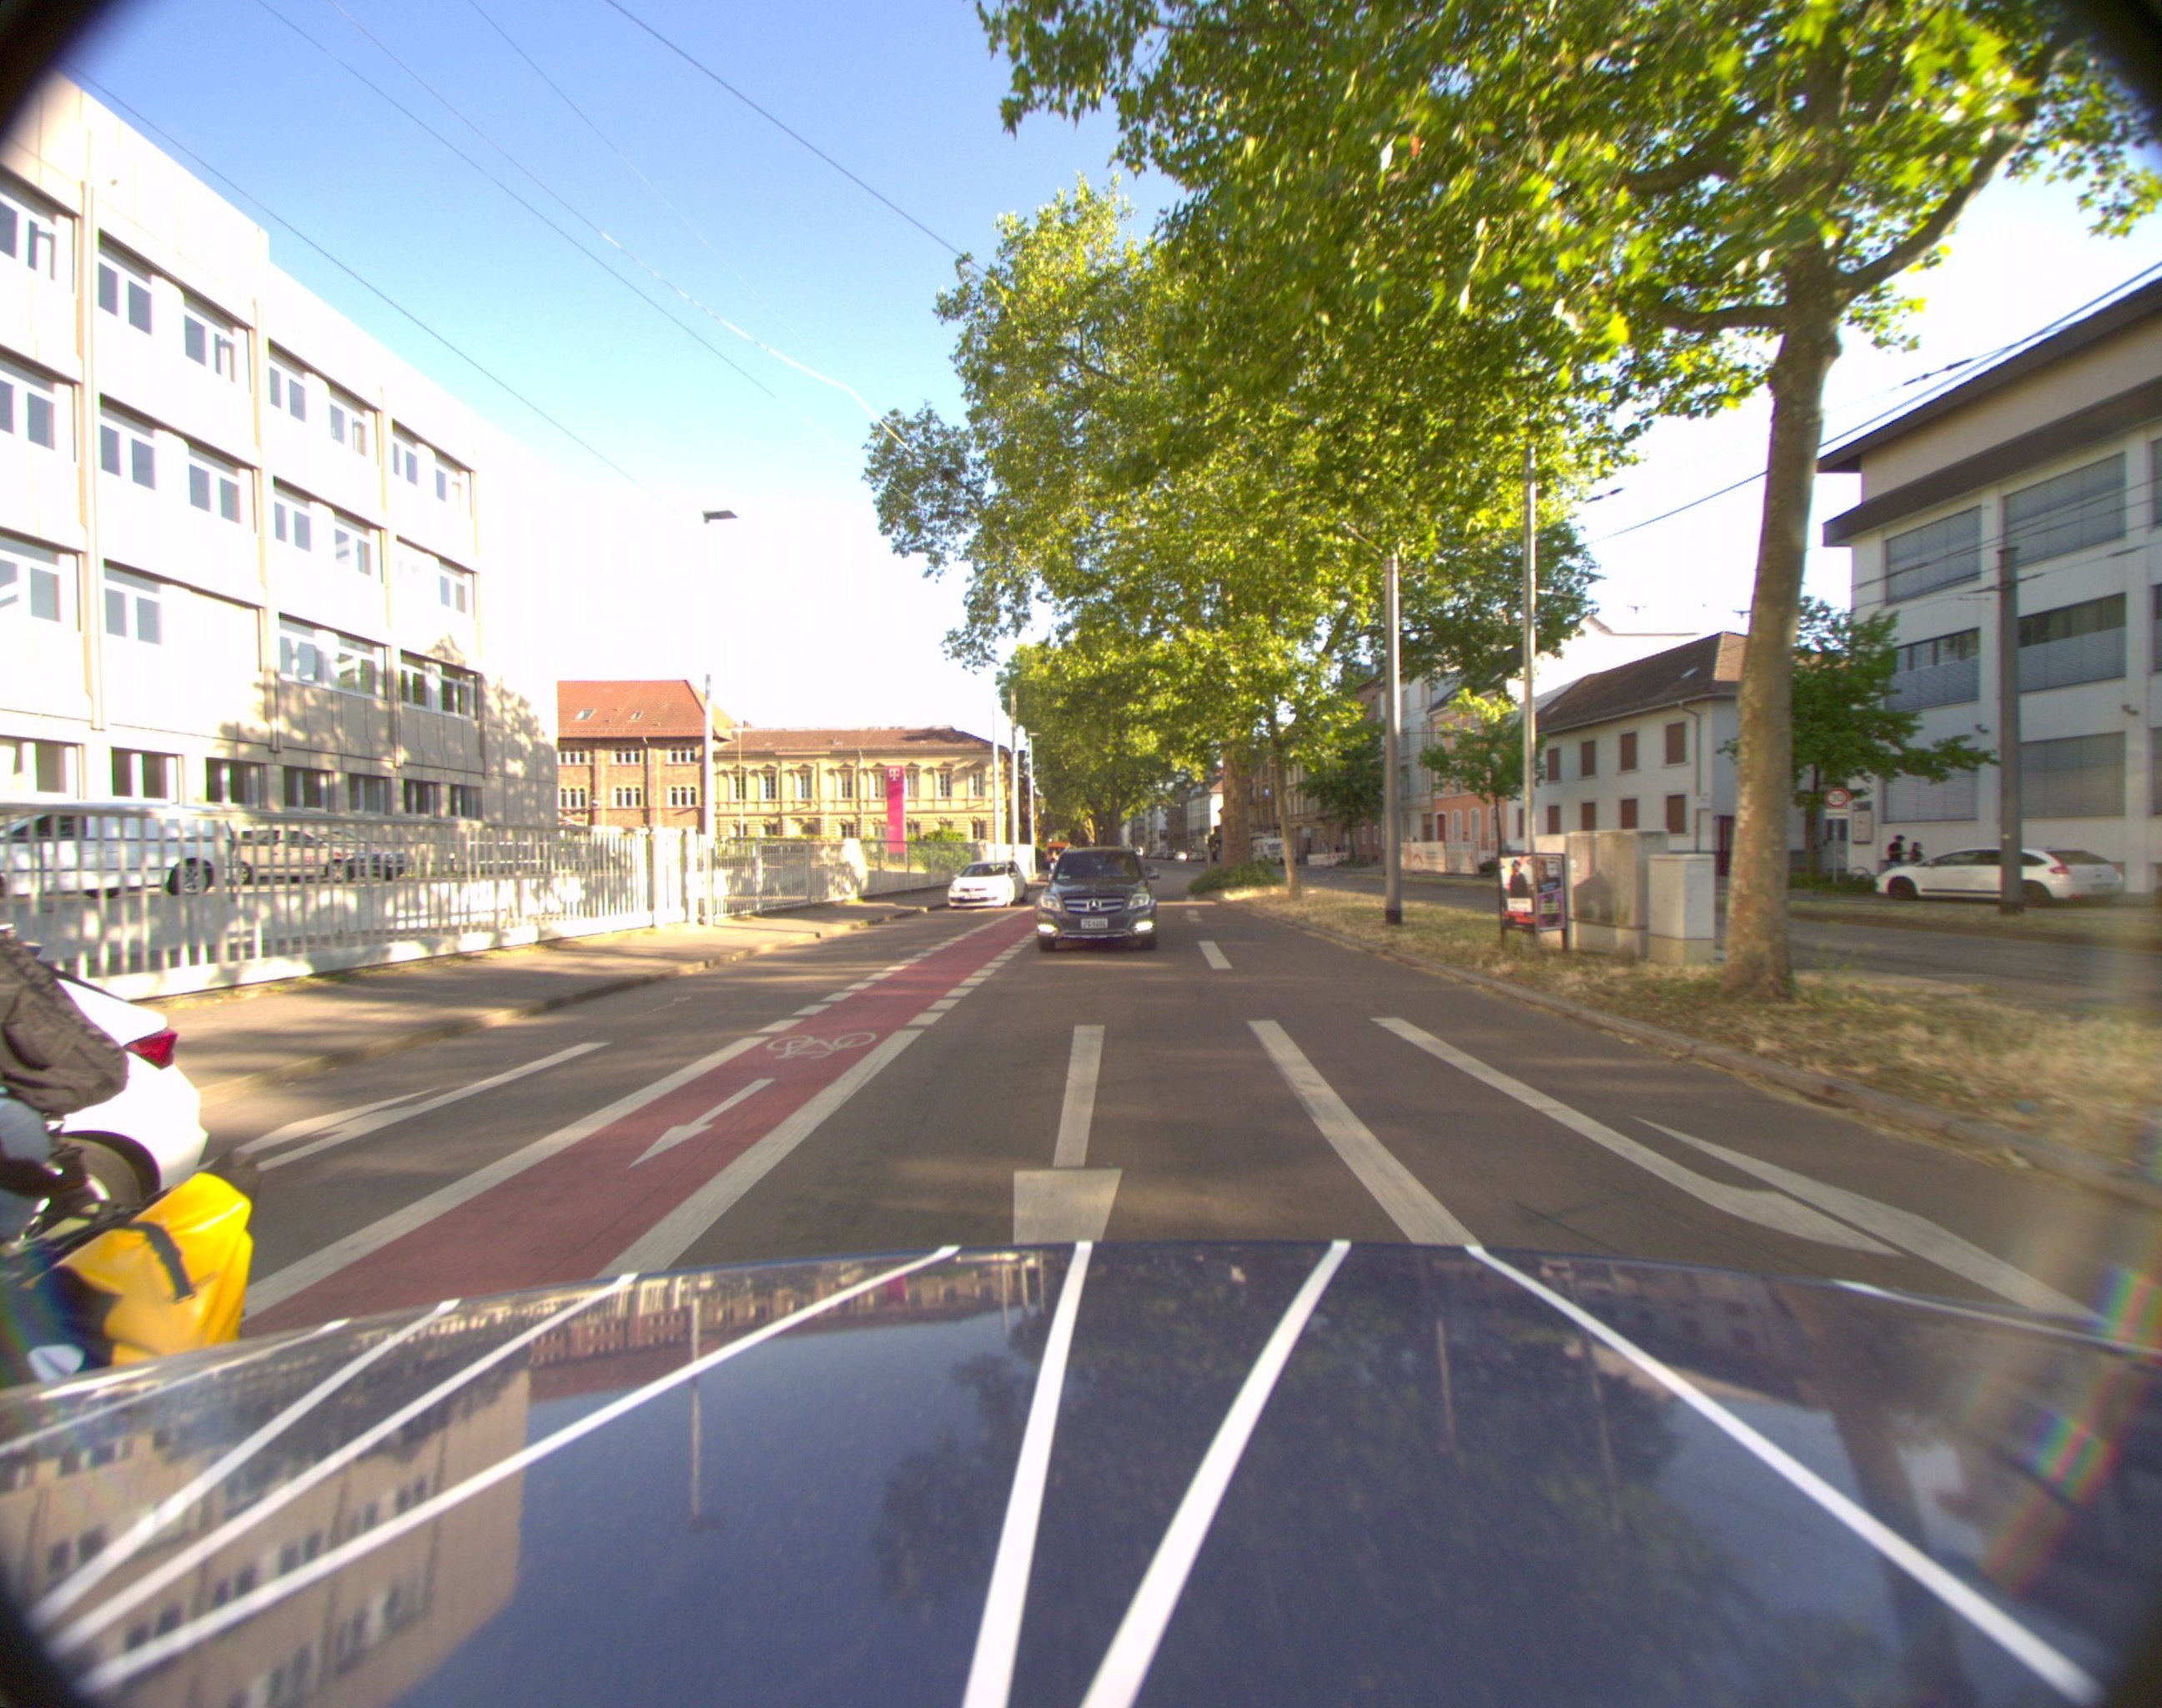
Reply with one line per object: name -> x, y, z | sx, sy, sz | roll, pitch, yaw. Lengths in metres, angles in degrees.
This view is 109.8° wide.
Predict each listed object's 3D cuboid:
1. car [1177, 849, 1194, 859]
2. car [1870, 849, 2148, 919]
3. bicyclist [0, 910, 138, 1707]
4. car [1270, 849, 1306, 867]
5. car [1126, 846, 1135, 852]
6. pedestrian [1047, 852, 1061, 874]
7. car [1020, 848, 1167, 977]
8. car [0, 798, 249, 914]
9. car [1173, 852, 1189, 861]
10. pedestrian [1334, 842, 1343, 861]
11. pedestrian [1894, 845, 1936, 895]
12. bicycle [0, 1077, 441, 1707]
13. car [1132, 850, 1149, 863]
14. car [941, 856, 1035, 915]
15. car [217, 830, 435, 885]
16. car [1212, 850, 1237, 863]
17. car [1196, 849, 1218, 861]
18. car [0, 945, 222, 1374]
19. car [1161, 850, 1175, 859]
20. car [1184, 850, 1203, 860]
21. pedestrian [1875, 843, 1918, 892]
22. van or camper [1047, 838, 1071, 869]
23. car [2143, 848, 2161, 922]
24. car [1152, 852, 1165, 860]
car -> 17.655, -0.066, 128.371 | 2.088, 1.531, 4.096 | -3, 1, -4
car -> 23.302, 0.673, 19.364 | 2.088, 1.481, 3.995 | -3, 1, -4
bicyclist -> -2.188, 0.828, 1.005 | 0.727, 1.414, 0.859 | -2, 1, 3
car -> 21.023, 0.382, 77.364 | 2.088, 1.664, 4.531 | -3, 1, -4
car -> 14.665, -1.452, 226.551 | 2.088, 1.531, 4.125 | -3, 1, -4
pedestrian -> -1.814, 0.613, 50.907 | 0.899, 1.464, 0.810 | 0, 1, 0
car -> 0.260, 0.780, 12.535 | 1.908, 1.634, 4.517 | -3, 1, 2
car -> -18.038, 0.032, 13.166 | 1.999, 1.832, 4.784 | 0, 0, -1
car -> 18.131, 0.503, 138.248 | 2.088, 1.531, 4.254 | -3, 1, -4
pedestrian -> 24.635, -0.275, 72.793 | 0.561, 1.798, 0.704 | -1, 1, -5
pedestrian -> 26.138, 0.490, 23.817 | 0.537, 1.519, 0.711 | 0, 1, -2
bicycle -> -2.173, 1.181, 0.911 | 0.764, 1.137, 2.307 | 0, 1, 3
car -> 8.894, 0.362, 114.068 | 1.999, 1.762, 3.999 | -2, 1, -1
car -> -2.797, 0.914, 23.859 | 1.792, 1.493, 4.303 | -3, 1, 8
car -> -23.009, 0.094, 23.318 | 4.575, 1.572, 1.999 | -1, 1, -2
car -> 18.867, 0.304, 100.383 | 2.088, 1.531, 4.514 | -3, 1, -4
car -> 18.802, 0.135, 113.485 | 2.088, 1.531, 5.103 | -3, 1, -4
car -> -4.559, 1.112, 1.203 | 1.705, 1.381, 4.074 | -2, 0, 0
car -> 16.979, 0.114, 148.575 | 2.088, 1.531, 4.007 | -3, 1, -4
car -> 18.141, 0.175, 122.419 | 2.088, 1.531, 4.037 | -3, 1, -4
pedestrian -> 25.359, 0.411, 23.634 | 0.537, 1.519, 0.711 | -1, 1, -8
van or camper -> -1.917, -0.057, 67.226 | 1.999, 2.578, 5.625 | -2, 1, -1
car -> 23.369, 0.604, 13.709 | 2.088, 1.493, 4.455 | -3, 1, -4
car -> 16.745, 0.458, 163.933 | 2.088, 1.531, 4.118 | -3, 1, -4
